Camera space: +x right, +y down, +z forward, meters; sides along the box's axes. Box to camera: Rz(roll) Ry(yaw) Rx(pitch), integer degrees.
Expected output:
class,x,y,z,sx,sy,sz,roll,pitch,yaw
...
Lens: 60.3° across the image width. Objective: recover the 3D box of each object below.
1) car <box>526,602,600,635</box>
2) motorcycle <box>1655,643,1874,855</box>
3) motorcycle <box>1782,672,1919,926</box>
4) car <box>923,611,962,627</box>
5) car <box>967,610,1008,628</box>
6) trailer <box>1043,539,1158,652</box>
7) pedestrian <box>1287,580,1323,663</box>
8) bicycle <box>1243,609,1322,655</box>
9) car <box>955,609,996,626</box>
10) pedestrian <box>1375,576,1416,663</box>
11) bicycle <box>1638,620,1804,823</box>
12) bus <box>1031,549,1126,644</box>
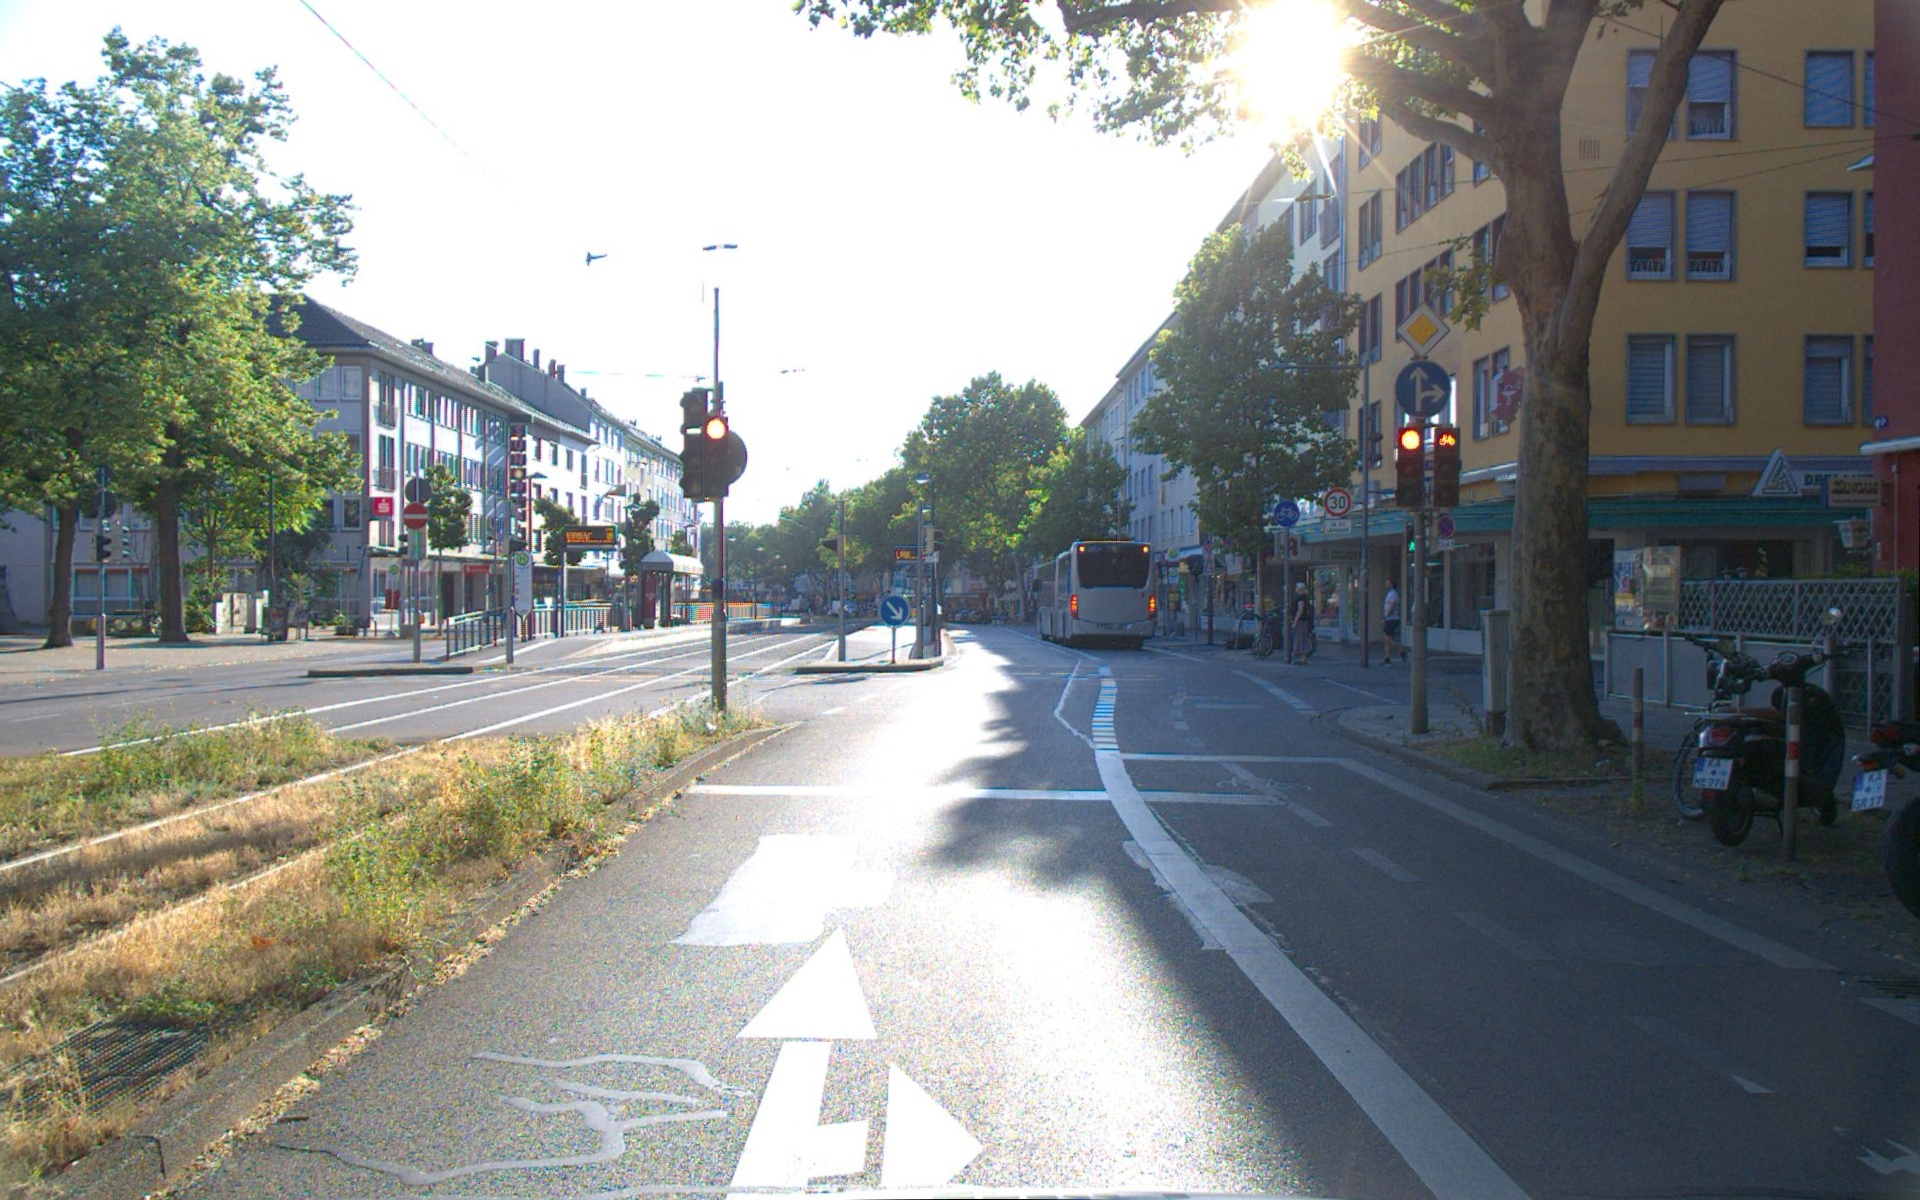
class,x,y,z,sx,sy,sz,roll,pitch,yaw
car,-23.599,1.083,98.258,3.939,1.847,1.983,0,0,-27
motorcycle,5.160,0.891,10.539,1.982,1.172,0.591,-1,0,-43
motorcycle,5.275,0.919,8.365,2.176,1.081,0.762,-2,1,-23
car,-1.822,2.017,174.886,3.847,1.624,1.675,0,0,-29
car,2.763,1.898,167.009,3.847,1.729,1.815,0,0,-29
trailer,4.303,-0.124,52.342,2.755,3.164,8.793,2,0,0
pedestrian,7.557,0.474,36.238,0.666,1.801,0.687,0,0,0
bicycle,7.758,0.764,39.856,1.736,1.039,0.694,-2,0,-1
car,1.600,1.819,170.627,3.847,1.729,1.815,0,0,-29
pedestrian,9.037,0.397,34.314,0.666,1.801,0.687,0,0,0
bicycle,5.511,0.817,11.922,0.683,1.224,1.839,2,4,38
bus,4.269,-0.109,61.311,2.755,3.155,9.093,2,0,0
